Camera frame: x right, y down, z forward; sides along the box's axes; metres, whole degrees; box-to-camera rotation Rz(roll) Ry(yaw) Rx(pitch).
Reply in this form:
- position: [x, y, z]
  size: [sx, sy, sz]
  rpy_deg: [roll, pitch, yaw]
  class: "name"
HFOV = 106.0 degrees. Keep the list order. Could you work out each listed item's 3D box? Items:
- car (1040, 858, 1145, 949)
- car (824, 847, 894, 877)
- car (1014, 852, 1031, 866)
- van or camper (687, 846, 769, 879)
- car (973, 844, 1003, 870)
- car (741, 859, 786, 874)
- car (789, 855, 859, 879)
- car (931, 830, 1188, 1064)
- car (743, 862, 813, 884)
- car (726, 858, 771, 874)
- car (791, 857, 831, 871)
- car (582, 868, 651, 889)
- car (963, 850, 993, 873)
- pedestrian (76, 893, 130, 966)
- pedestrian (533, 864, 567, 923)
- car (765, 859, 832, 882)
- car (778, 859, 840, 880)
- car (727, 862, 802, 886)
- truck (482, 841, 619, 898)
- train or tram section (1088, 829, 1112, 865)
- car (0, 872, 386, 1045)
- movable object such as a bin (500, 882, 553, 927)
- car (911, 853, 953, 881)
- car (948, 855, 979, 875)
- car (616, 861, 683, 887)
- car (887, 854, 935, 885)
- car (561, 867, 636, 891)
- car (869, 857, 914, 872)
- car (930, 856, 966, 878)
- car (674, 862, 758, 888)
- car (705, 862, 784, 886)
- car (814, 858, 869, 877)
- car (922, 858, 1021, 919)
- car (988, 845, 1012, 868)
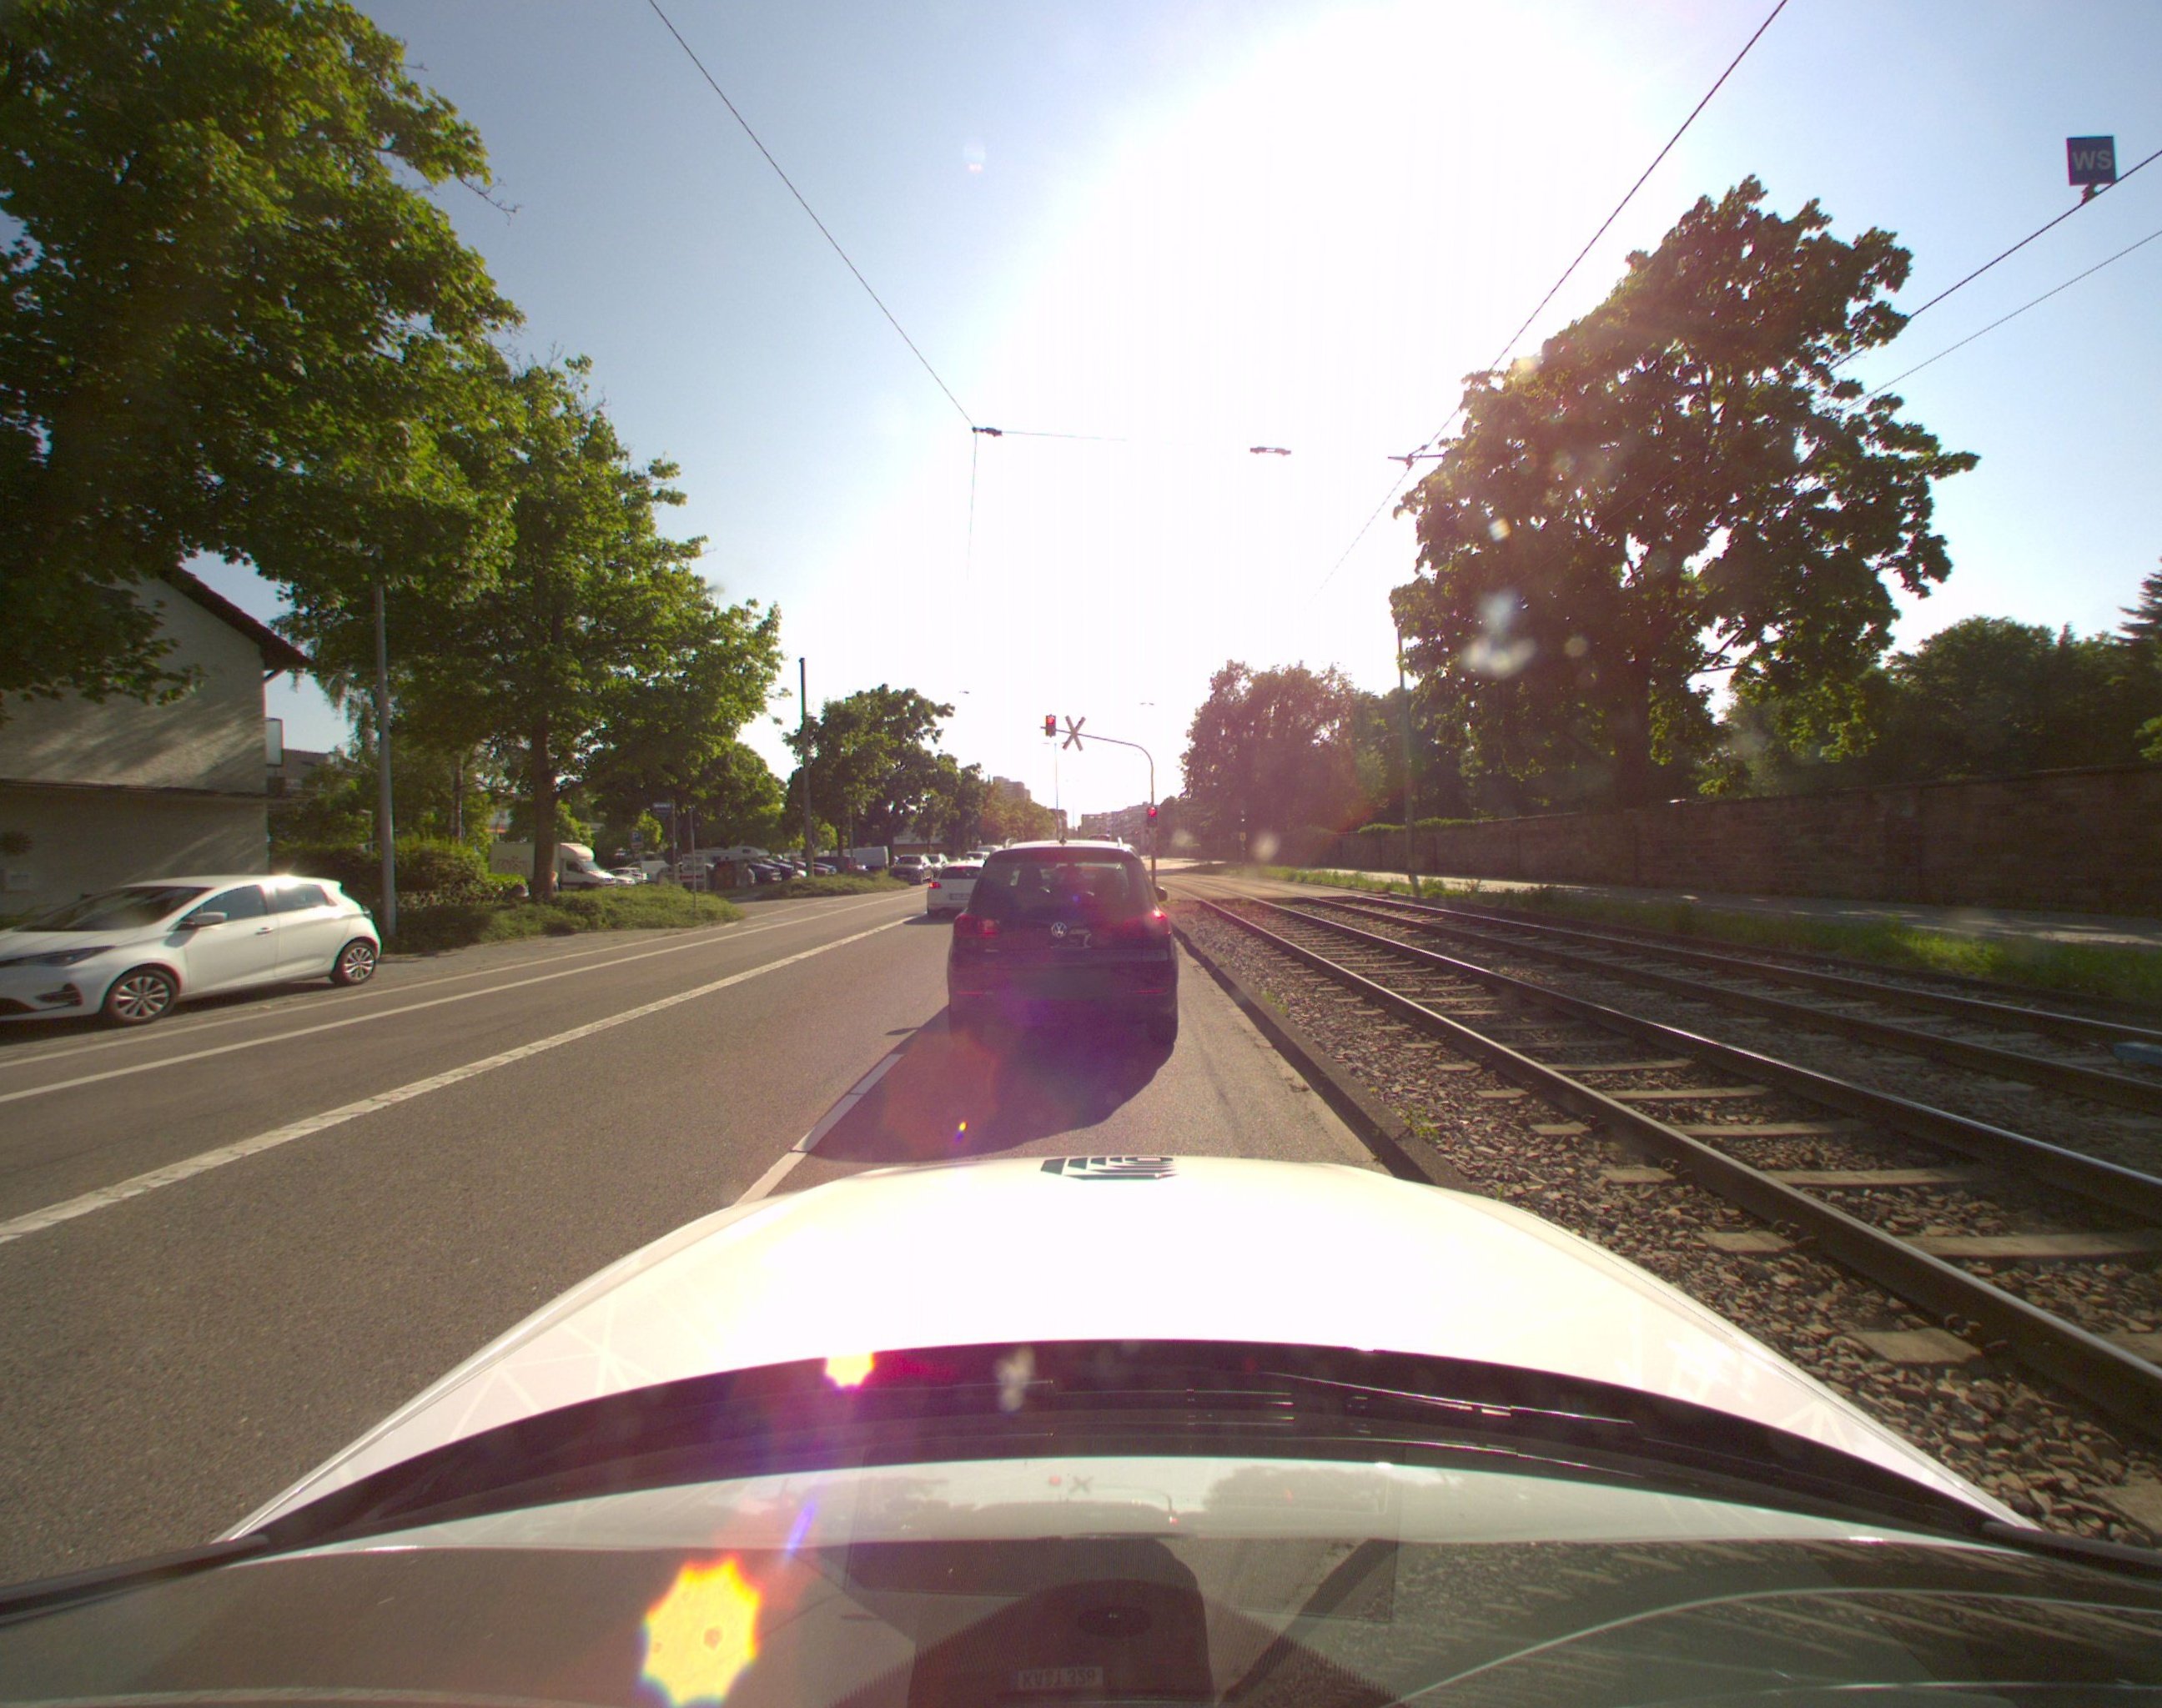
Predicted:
- position: [0.247, 0.808, 15.215]
  size: [1.663, 1.386, 4.002]
  rpy_deg: [-2, 0, 2]
  class: "car"
- position: [-19.118, 0.677, 70.361]
  size: [5.356, 2.423, 2.088]
  rpy_deg: [-2, 0, 1]
  class: "car"
- position: [-7.640, 0.596, 106.735]
  size: [1.724, 1.694, 4.004]
  rpy_deg: [-2, 1, 3]
  class: "car"
- position: [-32.595, 0.734, 75.317]
  size: [6.439, 2.868, 2.308]
  rpy_deg: [-1, 0, 2]
  class: "van or camper"
- position: [-8.746, 0.290, 77.038]
  size: [1.856, 2.347, 4.989]
  rpy_deg: [-2, 0, 3]
  class: "car"
- position: [-32.594, 1.276, 83.660]
  size: [3.976, 1.397, 1.736]
  rpy_deg: [-2, 0, -2]
  class: "car"
- position: [-19.633, 0.996, 62.365]
  size: [4.604, 1.651, 2.048]
  rpy_deg: [-2, 0, -1]
  class: "car"
- position: [-0.089, 0.663, 7.772]
  size: [1.804, 1.645, 4.002]
  rpy_deg: [-1, 0, 2]
  class: "car"
- position: [-20.323, 1.247, 54.723]
  size: [3.976, 1.307, 1.736]
  rpy_deg: [-2, 0, -2]
  class: "car"
- position: [-32.014, 1.180, 78.475]
  size: [3.653, 1.397, 1.736]
  rpy_deg: [-2, 0, -2]
  class: "car"
- position: [-31.651, 1.157, 95.565]
  size: [3.976, 1.397, 1.736]
  rpy_deg: [-2, 0, -2]
  class: "car"
- position: [-33.083, 1.727, 58.035]
  size: [3.966, 1.361, 1.630]
  rpy_deg: [-2, 0, 6]
  class: "car"
- position: [-8.868, 0.581, 70.361]
  size: [1.724, 1.860, 4.493]
  rpy_deg: [-2, 0, 3]
  class: "car"
- position: [-16.274, 1.246, 13.557]
  size: [0.344, 1.162, 0.447]
  rpy_deg: [-2, 0, 9]
  class: "pedestrian"
- position: [-15.136, 1.125, 23.227]
  size: [0.522, 1.628, 0.610]
  rpy_deg: [-2, 0, 1]
  class: "pedestrian"
- position: [-19.733, 1.136, 57.011]
  size: [3.976, 1.397, 1.736]
  rpy_deg: [-2, 0, -2]
  class: "car"
- position: [-19.985, 1.134, 59.982]
  size: [3.976, 1.397, 1.736]
  rpy_deg: [-2, 0, -2]
  class: "car"
- position: [-19.982, 1.247, 51.514]
  size: [3.976, 1.307, 1.736]
  rpy_deg: [-2, 0, -2]
  class: "car"
- position: [-32.622, 0.921, 50.193]
  size: [6.941, 3.242, 1.987]
  rpy_deg: [-2, 0, -1]
  class: "truck"
- position: [2.013, -0.734, 86.638]
  size: [2.318, 3.570, 8.904]
  rpy_deg: [-2, 0, 2]
  class: "train or tram section"
- position: [-10.790, 1.052, 9.769]
  size: [1.596, 1.550, 3.893]
  rpy_deg: [0, 0, -1]
  class: "car"
- position: [-15.154, 1.362, 22.293]
  size: [0.540, 1.146, 1.261]
  rpy_deg: [-2, 0, 2]
  class: "movable object such as a bin"
- position: [-9.654, 0.799, 52.963]
  size: [1.724, 1.694, 4.004]
  rpy_deg: [-2, 1, 3]
  class: "car"
- position: [-9.332, 0.879, 65.048]
  size: [1.724, 1.450, 3.738]
  rpy_deg: [-2, 1, 3]
  class: "car"
- position: [-31.883, 1.453, 60.288]
  size: [3.981, 1.728, 1.623]
  rpy_deg: [-2, 0, -6]
  class: "car"
- position: [-9.812, 0.887, 47.338]
  size: [1.724, 1.657, 4.003]
  rpy_deg: [-2, 0, 3]
  class: "car"
- position: [-32.729, 1.679, 55.329]
  size: [3.976, 1.457, 1.736]
  rpy_deg: [-2, 0, -2]
  class: "car"
- position: [-18.900, 1.051, 81.284]
  size: [3.976, 1.397, 1.736]
  rpy_deg: [-2, 0, -2]
  class: "car"
- position: [-9.612, 0.922, 59.167]
  size: [1.724, 1.389, 3.738]
  rpy_deg: [-2, 1, 3]
  class: "car"
- position: [-20.792, 1.186, 46.518]
  size: [3.976, 1.307, 1.736]
  rpy_deg: [-2, 0, -2]
  class: "car"
- position: [-20.147, 1.182, 48.922]
  size: [3.976, 1.307, 1.736]
  rpy_deg: [-2, 0, -2]
  class: "car"
- position: [-19.625, 1.108, 66.898]
  size: [3.976, 1.397, 1.736]
  rpy_deg: [-2, 0, -2]
  class: "car"
- position: [-2.697, 0.805, 20.887]
  size: [1.858, 1.348, 4.002]
  rpy_deg: [-1, 0, 2]
  class: "car"
- position: [-8.339, 0.221, 83.862]
  size: [1.724, 2.268, 4.648]
  rpy_deg: [-2, 0, 3]
  class: "car"
